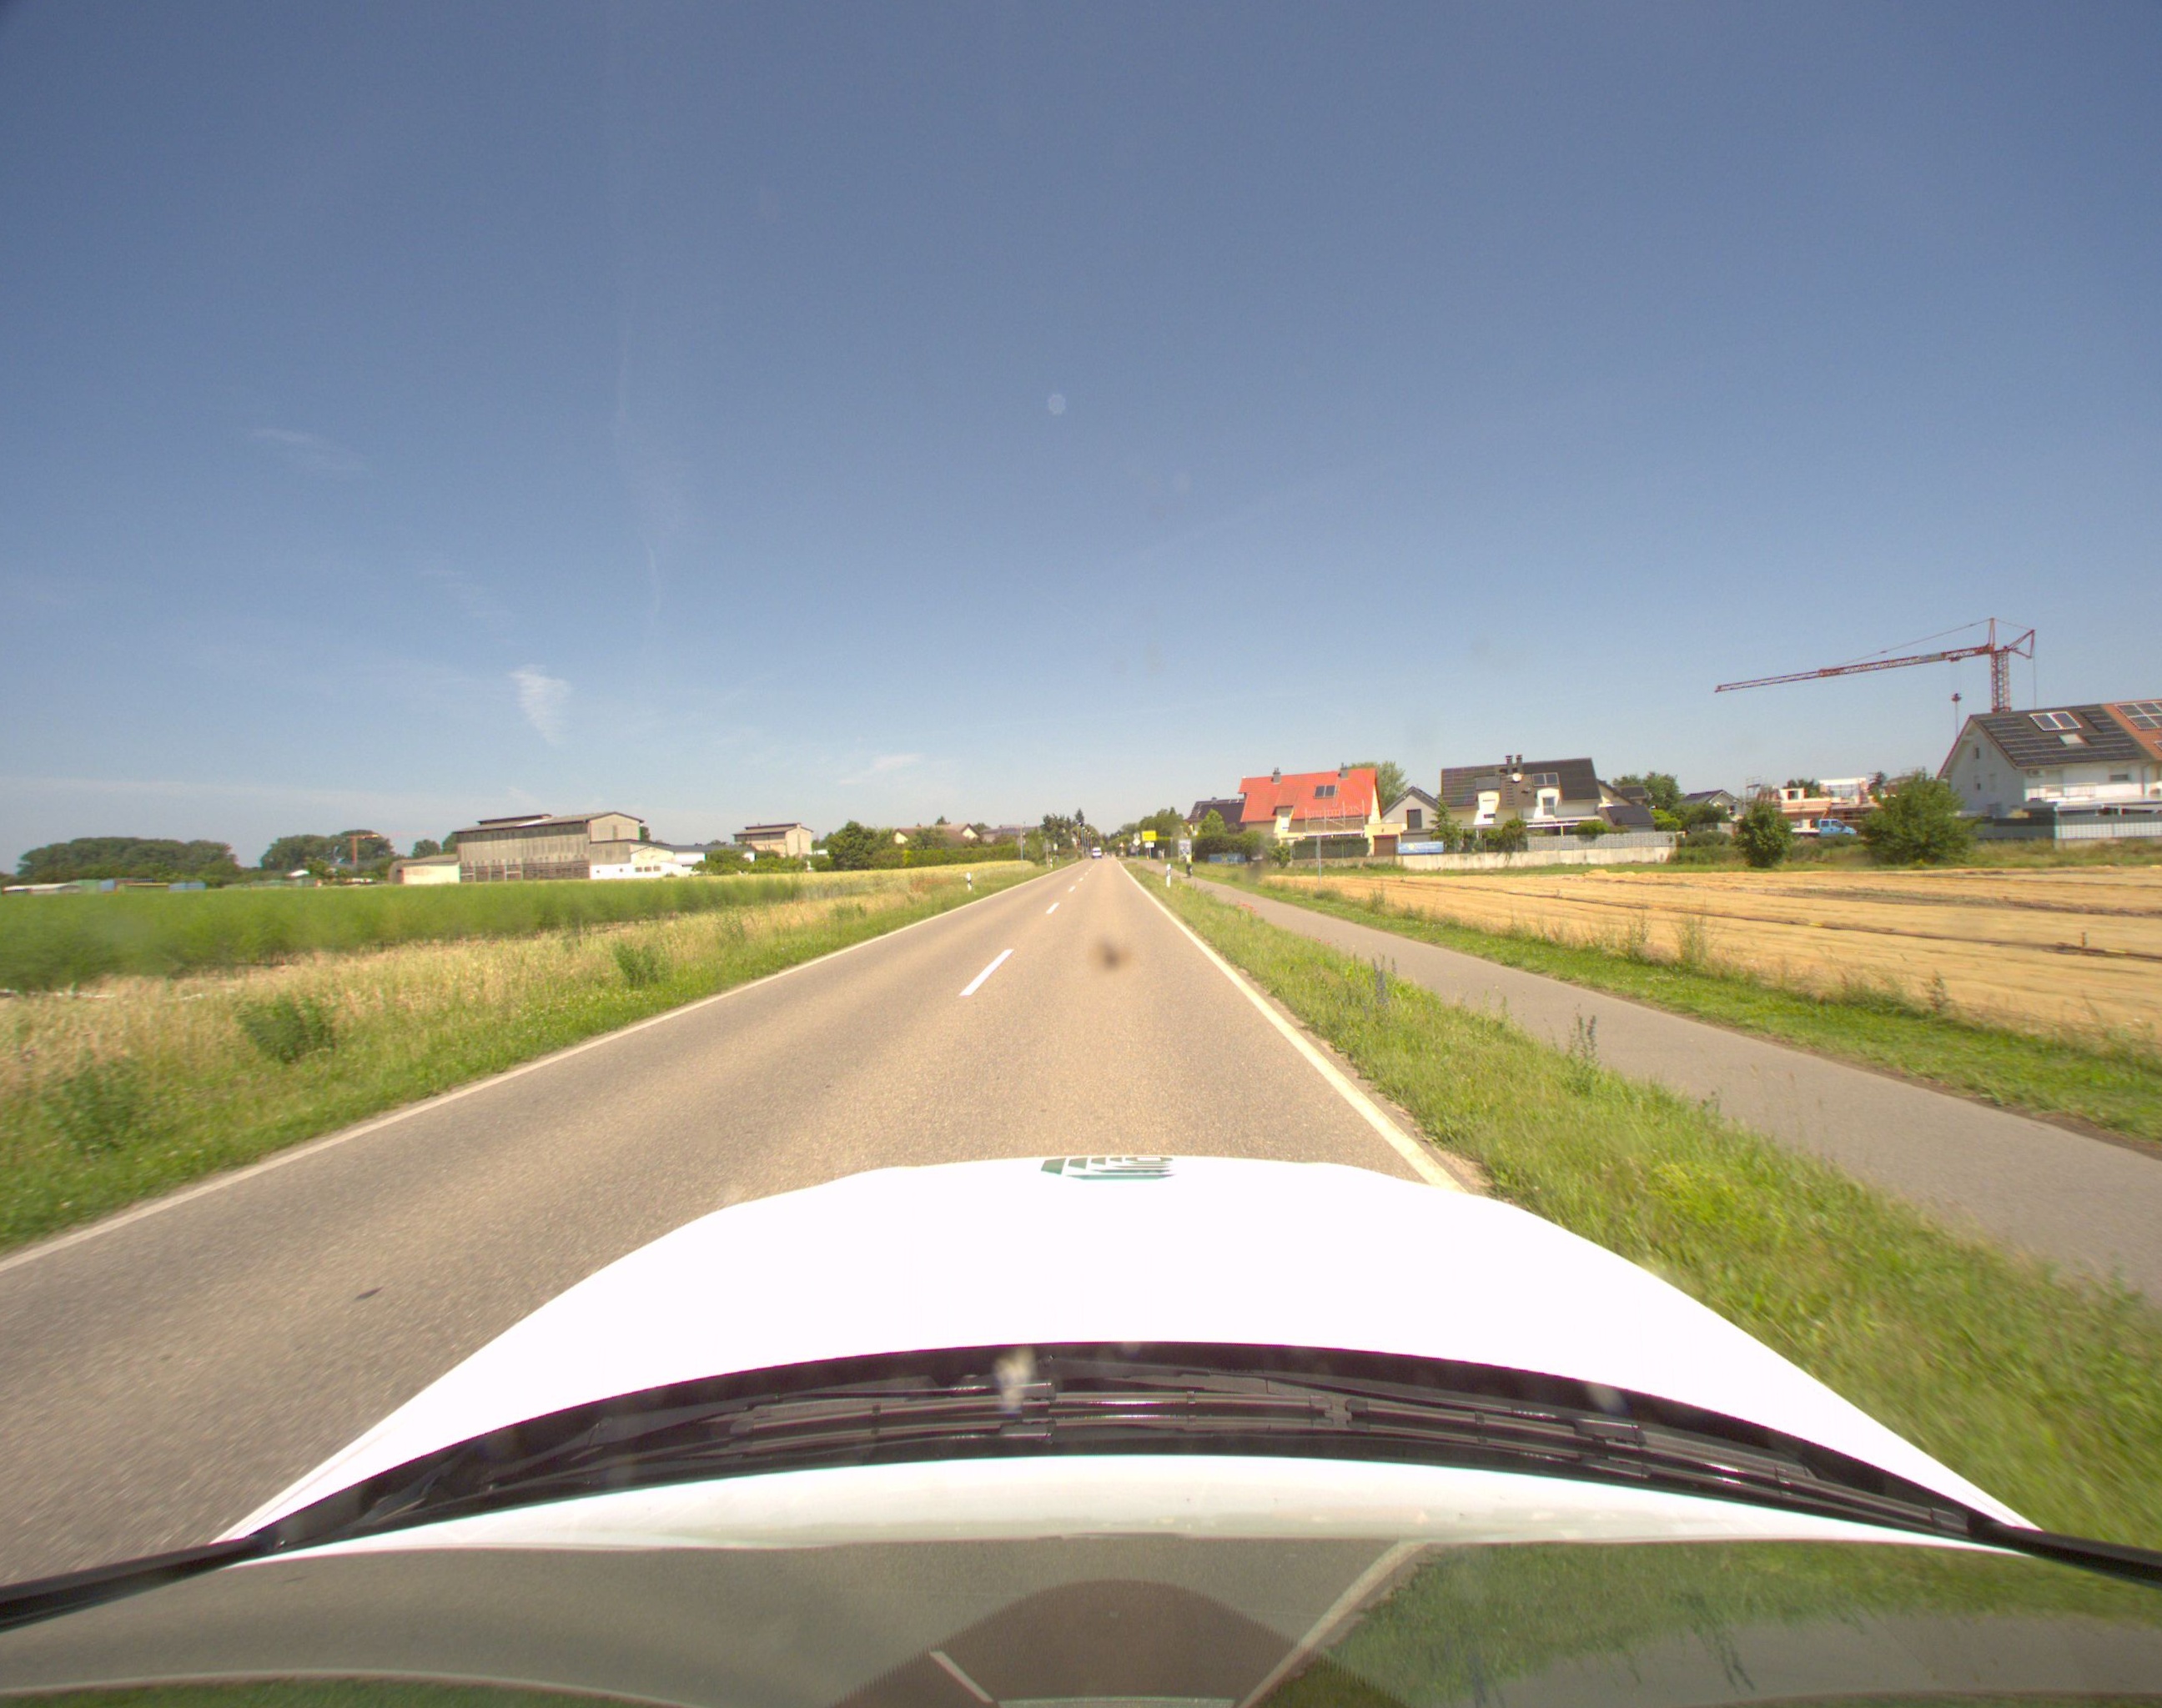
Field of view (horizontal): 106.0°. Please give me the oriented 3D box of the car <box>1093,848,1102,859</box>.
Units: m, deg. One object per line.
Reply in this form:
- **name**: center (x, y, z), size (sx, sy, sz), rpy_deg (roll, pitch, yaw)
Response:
- **car**: center (3.856, -0.150, 188.265), size (2.069, 2.542, 5.875), rpy_deg (-3, 0, 1)

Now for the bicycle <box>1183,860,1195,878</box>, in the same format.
- **bicycle**: center (7.530, 1.017, 56.847), size (0.608, 1.158, 2.275), rpy_deg (-1, 1, 1)

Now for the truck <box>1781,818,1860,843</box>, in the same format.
- **truck**: center (76.090, -2.371, 83.889), size (5.502, 2.230, 2.228), rpy_deg (-3, 0, 26)

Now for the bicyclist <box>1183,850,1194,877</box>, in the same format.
- **bicyclist**: center (7.517, 0.659, 56.742), size (0.642, 1.889, 0.861), rpy_deg (-1, 1, 1)
